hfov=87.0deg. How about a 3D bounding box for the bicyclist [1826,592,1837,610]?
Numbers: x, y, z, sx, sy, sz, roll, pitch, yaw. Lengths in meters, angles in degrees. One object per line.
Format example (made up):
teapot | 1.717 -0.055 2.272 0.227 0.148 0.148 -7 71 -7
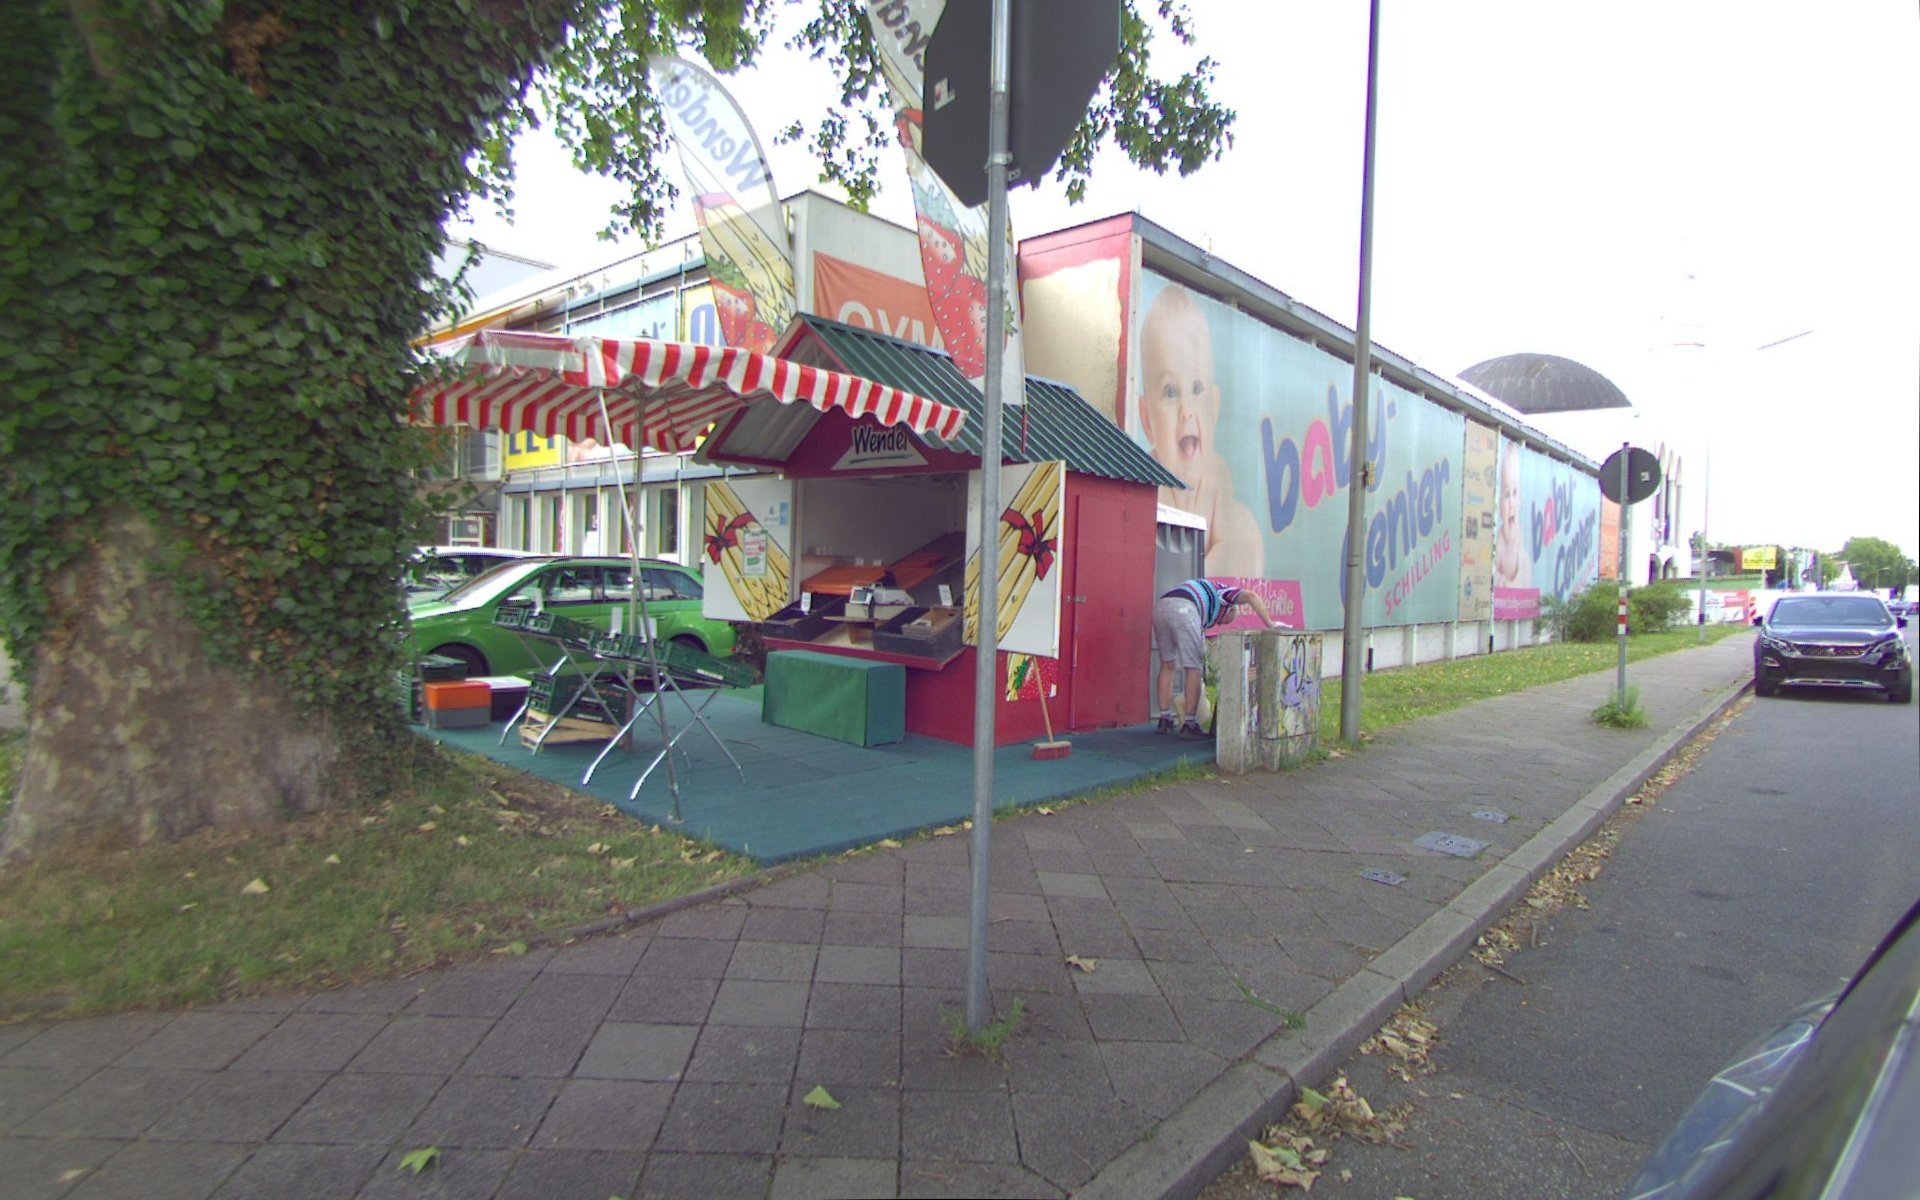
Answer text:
bicyclist | 100.306 0.099 116.461 0.795 1.933 0.816 7 5 44

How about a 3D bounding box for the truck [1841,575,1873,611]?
truck | 109.143 -0.830 123.118 2.776 4.169 8.153 -1 -1 42

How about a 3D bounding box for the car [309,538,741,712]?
car | -4.528 0.183 10.924 1.740 1.531 3.936 3 2 44

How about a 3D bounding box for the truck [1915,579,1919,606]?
truck | 140.338 -1.059 146.353 2.746 3.767 7.065 4 3 41

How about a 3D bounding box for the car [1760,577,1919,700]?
car | 14.047 0.533 16.165 1.806 1.686 4.572 -1 -1 40

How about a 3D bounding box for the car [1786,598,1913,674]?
car | 18.430 0.668 20.920 1.807 1.408 4.516 -1 -1 43

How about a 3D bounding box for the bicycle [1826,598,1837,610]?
bicycle | 100.300 0.420 116.454 0.793 1.310 1.853 7 5 43

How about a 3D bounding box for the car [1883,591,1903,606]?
car | 127.640 -0.251 138.510 1.791 1.915 3.941 3 2 41

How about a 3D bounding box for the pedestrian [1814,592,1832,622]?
pedestrian | 45.658 0.367 53.538 0.680 1.553 1.114 2 2 39

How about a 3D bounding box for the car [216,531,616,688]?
car | -6.424 0.053 12.319 1.736 1.588 3.945 2 2 38

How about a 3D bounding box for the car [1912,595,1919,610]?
car | 93.039 0.275 97.633 1.590 1.483 3.705 4 3 41

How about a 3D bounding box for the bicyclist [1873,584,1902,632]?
bicyclist | 36.186 0.293 39.497 0.806 1.815 1.189 0 0 41

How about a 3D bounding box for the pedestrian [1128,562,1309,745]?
pedestrian | 2.053 0.374 8.074 0.947 1.330 1.016 0 2 -40

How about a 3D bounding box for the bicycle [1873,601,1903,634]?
bicycle | 36.191 0.659 39.493 0.797 1.195 2.588 0 1 41
